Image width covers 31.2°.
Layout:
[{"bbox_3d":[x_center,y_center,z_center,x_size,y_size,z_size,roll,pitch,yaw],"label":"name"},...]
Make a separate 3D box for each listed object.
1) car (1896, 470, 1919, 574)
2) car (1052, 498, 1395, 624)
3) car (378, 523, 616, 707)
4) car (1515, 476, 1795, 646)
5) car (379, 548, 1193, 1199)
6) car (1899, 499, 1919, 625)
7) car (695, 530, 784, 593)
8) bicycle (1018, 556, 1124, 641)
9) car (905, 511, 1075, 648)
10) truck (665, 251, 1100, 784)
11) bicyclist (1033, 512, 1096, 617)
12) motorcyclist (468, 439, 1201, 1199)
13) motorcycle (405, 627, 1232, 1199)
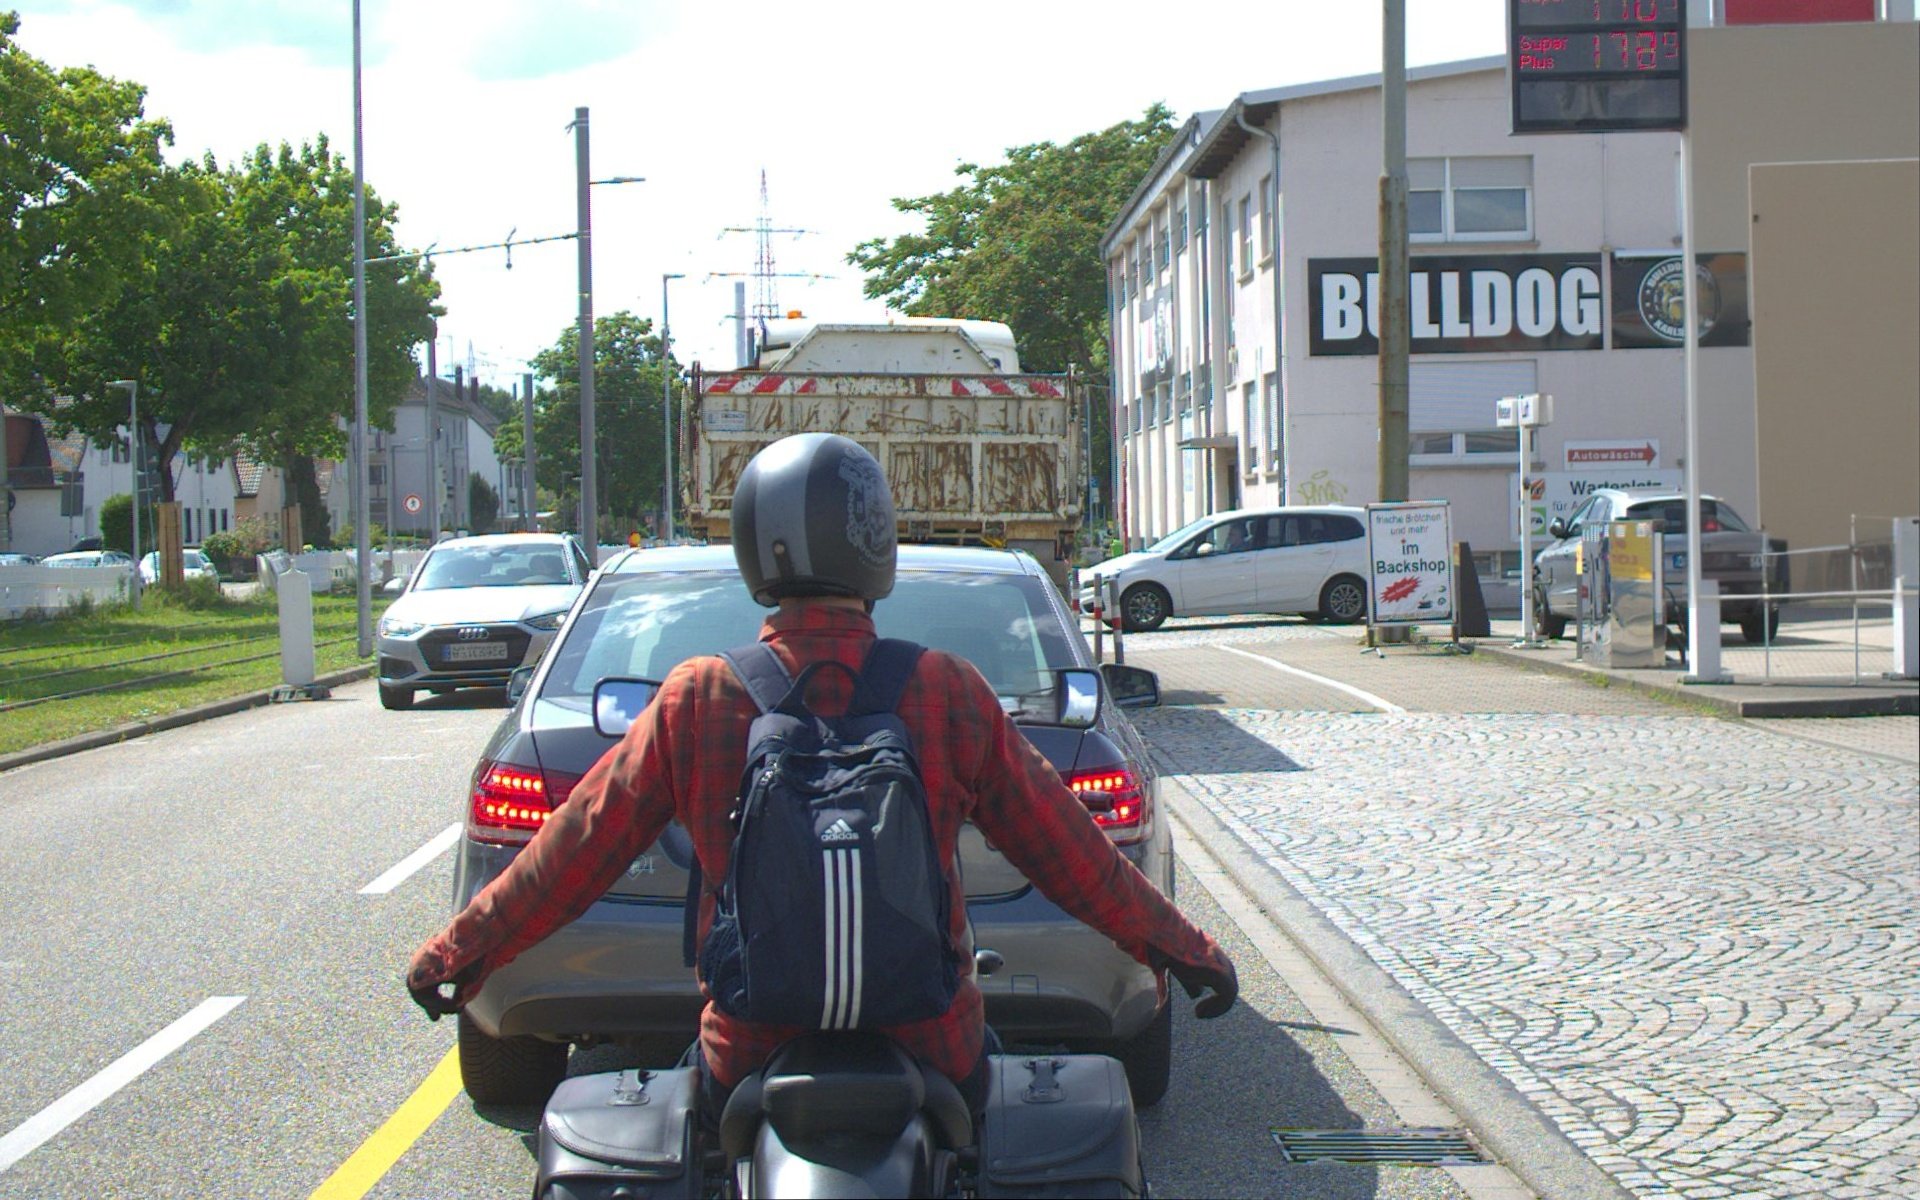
[{"bbox_3d":[17.103,-1.293,54.399,3.987,1.643,1.966,-2,1,-1],"label":"car"},{"bbox_3d":[3.583,-0.539,47.210,4.329,1.546,1.950,-2,1,-8],"label":"car"},{"bbox_3d":[-4.016,0.074,30.372,1.654,1.442,4.304,-2,2,-2],"label":"car"},{"bbox_3d":[7.311,-0.415,36.553,1.959,1.643,4.000,-2,1,-3],"label":"car"},{"bbox_3d":[-0.412,0.587,9.741,1.821,1.419,4.000,0,1,-1],"label":"car"},{"bbox_3d":[11.815,-0.444,37.287,1.959,1.415,4.000,-2,1,-3],"label":"car"},{"bbox_3d":[-5.207,-0.919,81.661,1.846,1.382,4.345,-2,1,-1],"label":"car"},{"bbox_3d":[1.894,-0.043,58.347,0.694,1.357,2.414,-1,2,31],"label":"bicycle"},{"bbox_3d":[0.314,-0.273,38.932,1.821,1.459,4.000,0,1,0],"label":"car"},{"bbox_3d":[-0.488,-0.704,26.056,2.610,3.244,9.183,-2,2,0],"label":"truck"},{"bbox_3d":[1.767,-0.603,58.122,0.673,1.738,0.812,0,2,40],"label":"bicyclist"},{"bbox_3d":[-0.176,0.592,5.086,0.939,1.609,1.205,1,1,-1],"label":"motorcyclist"},{"bbox_3d":[-0.184,0.741,5.269,0.939,1.316,2.645,1,1,-1],"label":"motorcycle"}]
